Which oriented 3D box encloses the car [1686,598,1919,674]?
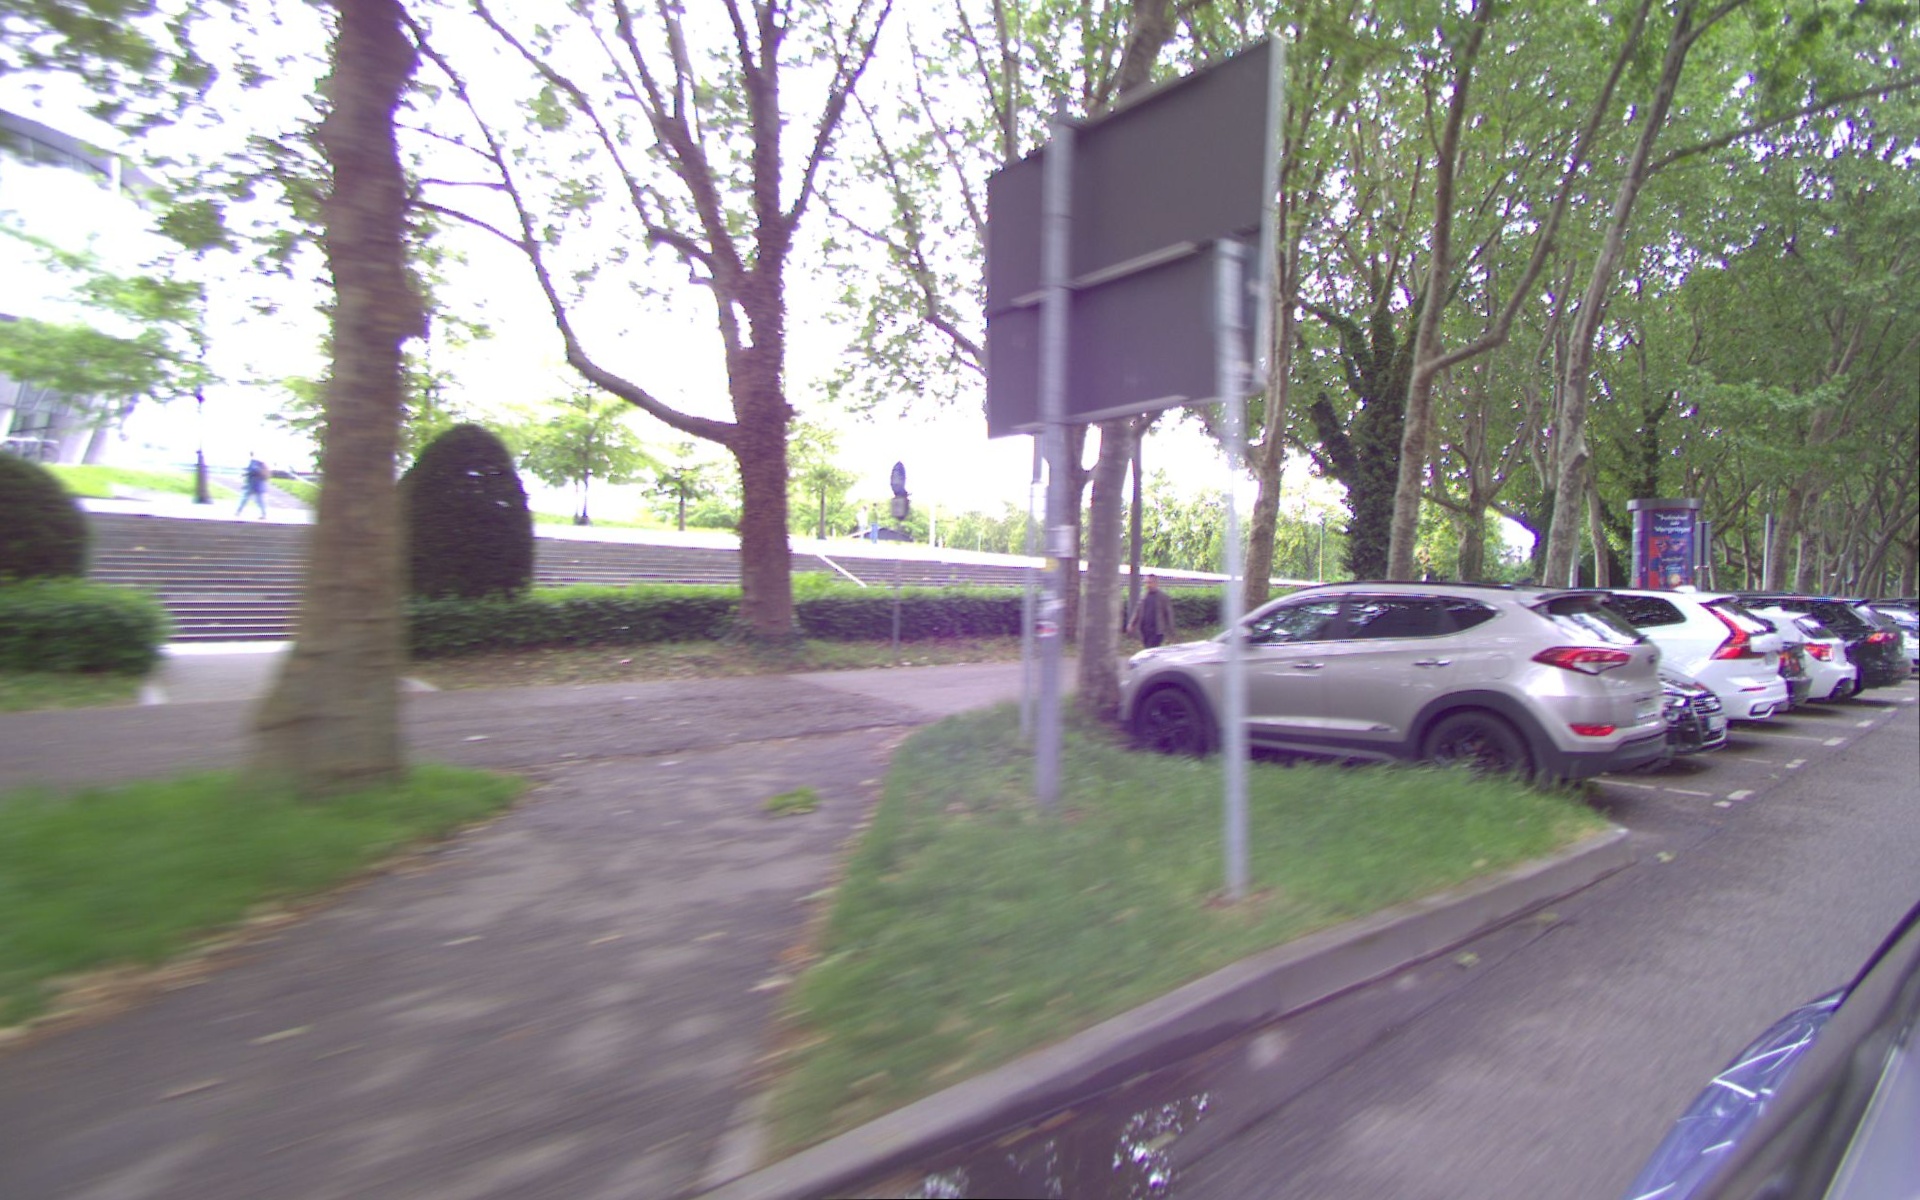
[{"bbox_3d":[18.245,0.700,21.624,1.696,1.476,4.156,0,0,-40],"label":"car"}]

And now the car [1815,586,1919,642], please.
[{"bbox_3d":[31.242,0.457,33.248,2.009,1.819,4.508,1,0,-37],"label":"car"}]

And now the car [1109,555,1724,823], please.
[{"bbox_3d":[3.534,0.548,8.524,1.891,1.654,4.354,1,0,-40],"label":"car"}]

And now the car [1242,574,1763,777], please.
[{"bbox_3d":[5.312,0.607,10.405,1.891,1.625,4.354,1,0,-40],"label":"car"}]

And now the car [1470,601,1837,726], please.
[{"bbox_3d":[9.101,0.732,13.495,1.745,1.420,3.736,0,-1,-42],"label":"car"}]

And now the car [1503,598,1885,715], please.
[{"bbox_3d":[10.794,0.729,15.135,1.916,1.474,4.351,1,0,-42],"label":"car"}]

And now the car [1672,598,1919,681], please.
[{"bbox_3d":[16.284,0.706,19.801,1.637,1.445,3.642,1,-1,-44],"label":"car"}]

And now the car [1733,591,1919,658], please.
[{"bbox_3d":[23.512,0.608,26.764,1.838,1.660,4.602,1,0,-39],"label":"car"}]

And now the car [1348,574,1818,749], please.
[{"bbox_3d":[7.068,0.585,11.878,1.891,1.654,4.354,1,0,-40],"label":"car"}]

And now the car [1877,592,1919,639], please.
[{"bbox_3d":[38.332,0.618,38.811,2.012,1.819,4.502,1,-1,-41],"label":"car"}]

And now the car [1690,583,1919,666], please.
[{"bbox_3d":[19.860,0.525,23.603,1.805,1.768,4.351,1,-1,-42],"label":"car"}]

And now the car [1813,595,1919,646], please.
[{"bbox_3d":[29.436,0.623,31.327,1.890,1.521,4.357,1,0,-38],"label":"car"}]

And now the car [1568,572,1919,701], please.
[{"bbox_3d":[12.673,0.465,16.515,1.892,1.782,4.353,0,1,-42],"label":"car"}]

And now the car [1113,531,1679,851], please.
[{"bbox_3d":[3.477,0.578,8.627,1.965,2.039,3.994,1,-1,-40],"label":"car"}]

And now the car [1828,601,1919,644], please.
[{"bbox_3d":[32.805,0.766,34.623,1.796,1.438,4.505,0,0,-39],"label":"car"}]

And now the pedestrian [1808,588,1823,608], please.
[{"bbox_3d":[67.648,-0.157,79.997,0.685,1.587,0.725,0,0,-35],"label":"pedestrian"}]

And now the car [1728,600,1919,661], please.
[{"bbox_3d":[21.682,0.712,25.016,1.713,1.397,4.048,1,0,-40],"label":"car"}]

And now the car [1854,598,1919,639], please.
[{"bbox_3d":[34.819,0.645,35.843,1.898,1.446,4.504,0,0,-40],"label":"car"}]

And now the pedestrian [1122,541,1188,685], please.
[{"bbox_3d":[2.836,0.174,14.732,0.781,2.039,0.592,1,0,33],"label":"pedestrian"}]

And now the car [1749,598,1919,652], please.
[{"bbox_3d":[25.305,0.683,28.705,1.891,1.431,4.354,1,0,-40],"label":"car"}]
